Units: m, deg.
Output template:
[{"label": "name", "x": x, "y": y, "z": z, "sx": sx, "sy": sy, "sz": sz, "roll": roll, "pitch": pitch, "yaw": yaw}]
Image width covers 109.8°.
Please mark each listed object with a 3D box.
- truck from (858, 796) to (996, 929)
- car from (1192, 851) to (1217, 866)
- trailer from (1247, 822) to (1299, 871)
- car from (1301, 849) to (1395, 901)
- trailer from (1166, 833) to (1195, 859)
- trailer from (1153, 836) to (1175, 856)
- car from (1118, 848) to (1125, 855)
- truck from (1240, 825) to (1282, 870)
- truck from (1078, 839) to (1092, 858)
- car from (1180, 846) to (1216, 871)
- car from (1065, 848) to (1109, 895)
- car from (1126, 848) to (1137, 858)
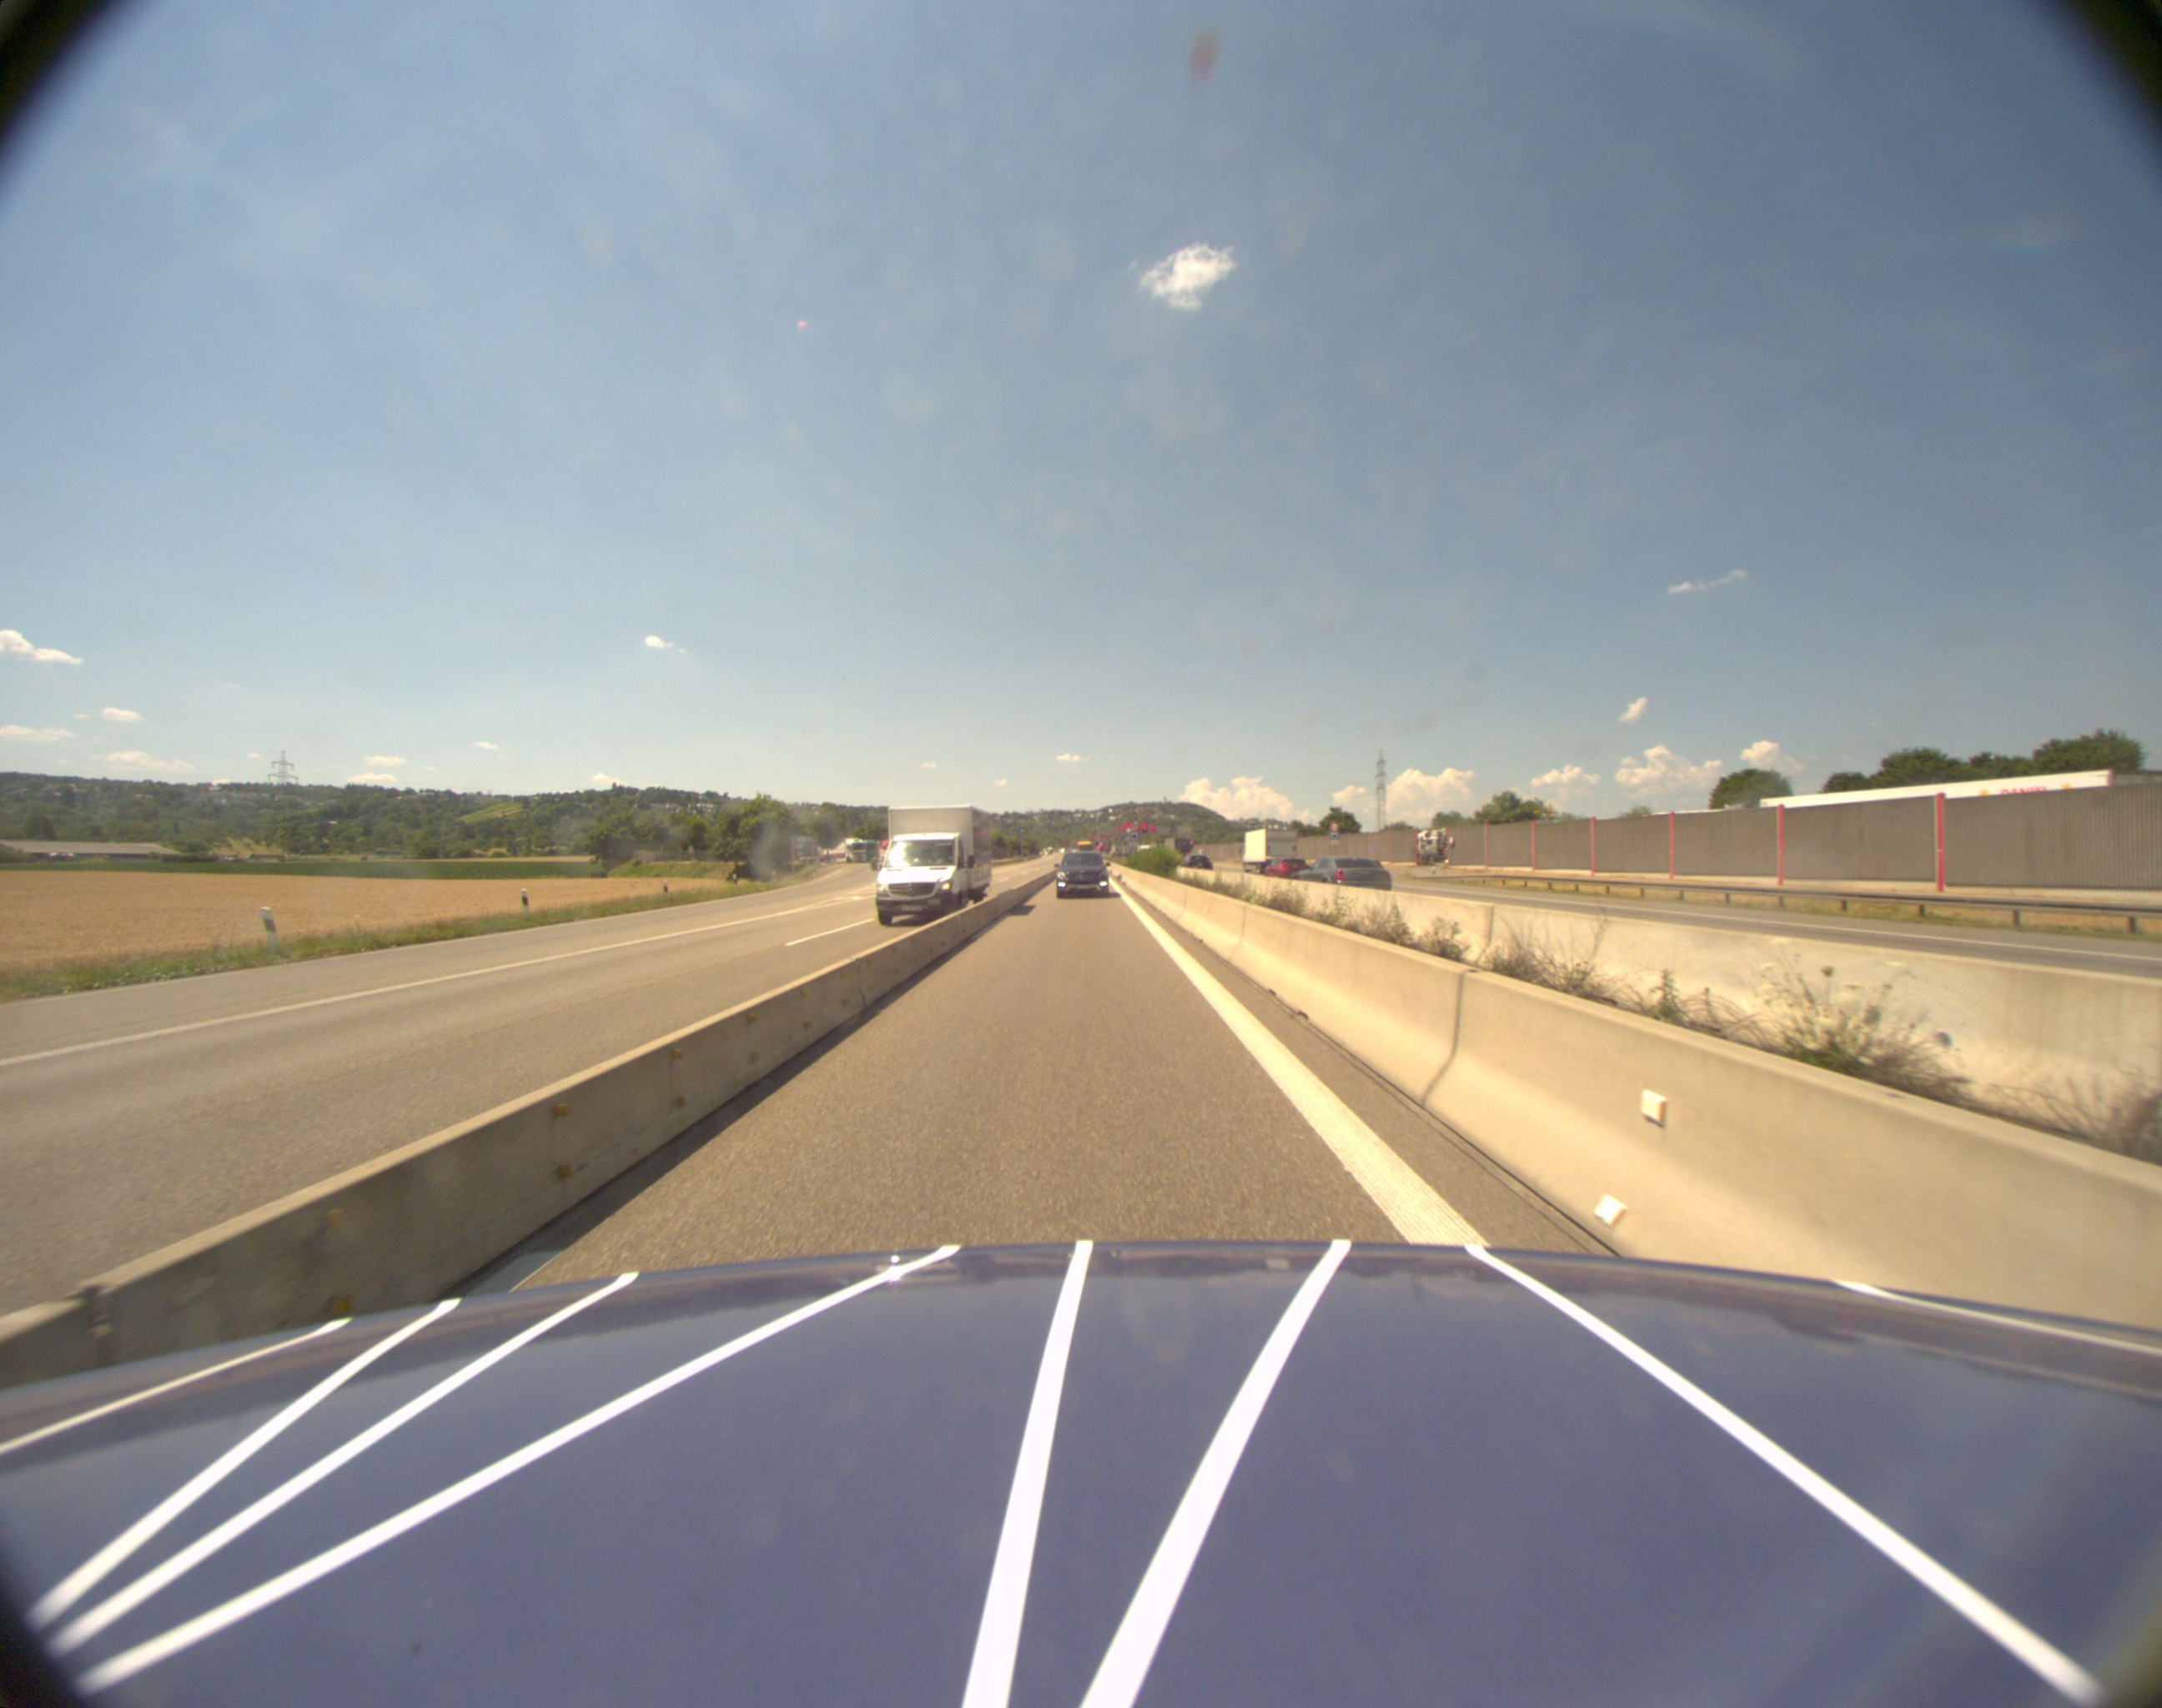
[{"label": "truck", "x": -3.996, "y": 0.237, "z": 21.272, "sx": 2.326, "sy": 3.049, "sz": 6.751, "roll": -2, "pitch": 0, "yaw": 0}, {"label": "car", "x": 12.658, "y": 0.469, "z": 77.997, "sx": 1.795, "sy": 1.422, "sz": 5.104, "roll": -1, "pitch": 1, "yaw": 0}, {"label": "trailer", "x": 15.872, "y": -0.589, "z": 63.141, "sx": 2.654, "sy": 3.851, "sz": 6.616, "roll": 0, "pitch": 1, "yaw": 0}, {"label": "car", "x": 8.542, "y": 0.607, "z": 24.638, "sx": 1.659, "sy": 1.510, "sz": 3.999, "roll": -1, "pitch": 1, "yaw": 0}, {"label": "trailer", "x": 16.740, "y": -1.342, "z": 128.445, "sx": 2.991, "sy": 4.043, "sz": 15.161, "roll": -1, "pitch": 1, "yaw": 0}, {"label": "trailer", "x": 17.530, "y": -1.786, "z": 161.354, "sx": 3.264, "sy": 4.033, "sz": 14.388, "roll": -2, "pitch": 1, "yaw": 0}, {"label": "car", "x": 9.193, "y": -0.475, "z": 173.633, "sx": 1.515, "sy": 1.530, "sz": 3.183, "roll": -1, "pitch": 1, "yaw": 0}, {"label": "truck", "x": 15.900, "y": -0.616, "z": 67.462, "sx": 2.647, "sy": 3.851, "sz": 4.725, "roll": 0, "pitch": 1, "yaw": 0}, {"label": "truck", "x": 0.793, "y": -1.001, "z": 134.650, "sx": 2.272, "sy": 3.139, "sz": 8.186, "roll": -2, "pitch": 1, "yaw": 1}, {"label": "car", "x": 8.536, "y": 0.336, "z": 55.752, "sx": 1.998, "sy": 1.749, "sz": 4.644, "roll": -1, "pitch": 0, "yaw": 1}, {"label": "car", "x": 0.276, "y": 0.688, "z": 31.226, "sx": 1.631, "sy": 1.711, "sz": 3.865, "roll": -3, "pitch": 0, "yaw": 1}, {"label": "car", "x": 9.261, "y": -0.224, "z": 139.993, "sx": 1.654, "sy": 1.694, "sz": 3.741, "roll": -1, "pitch": 1, "yaw": 0}]
